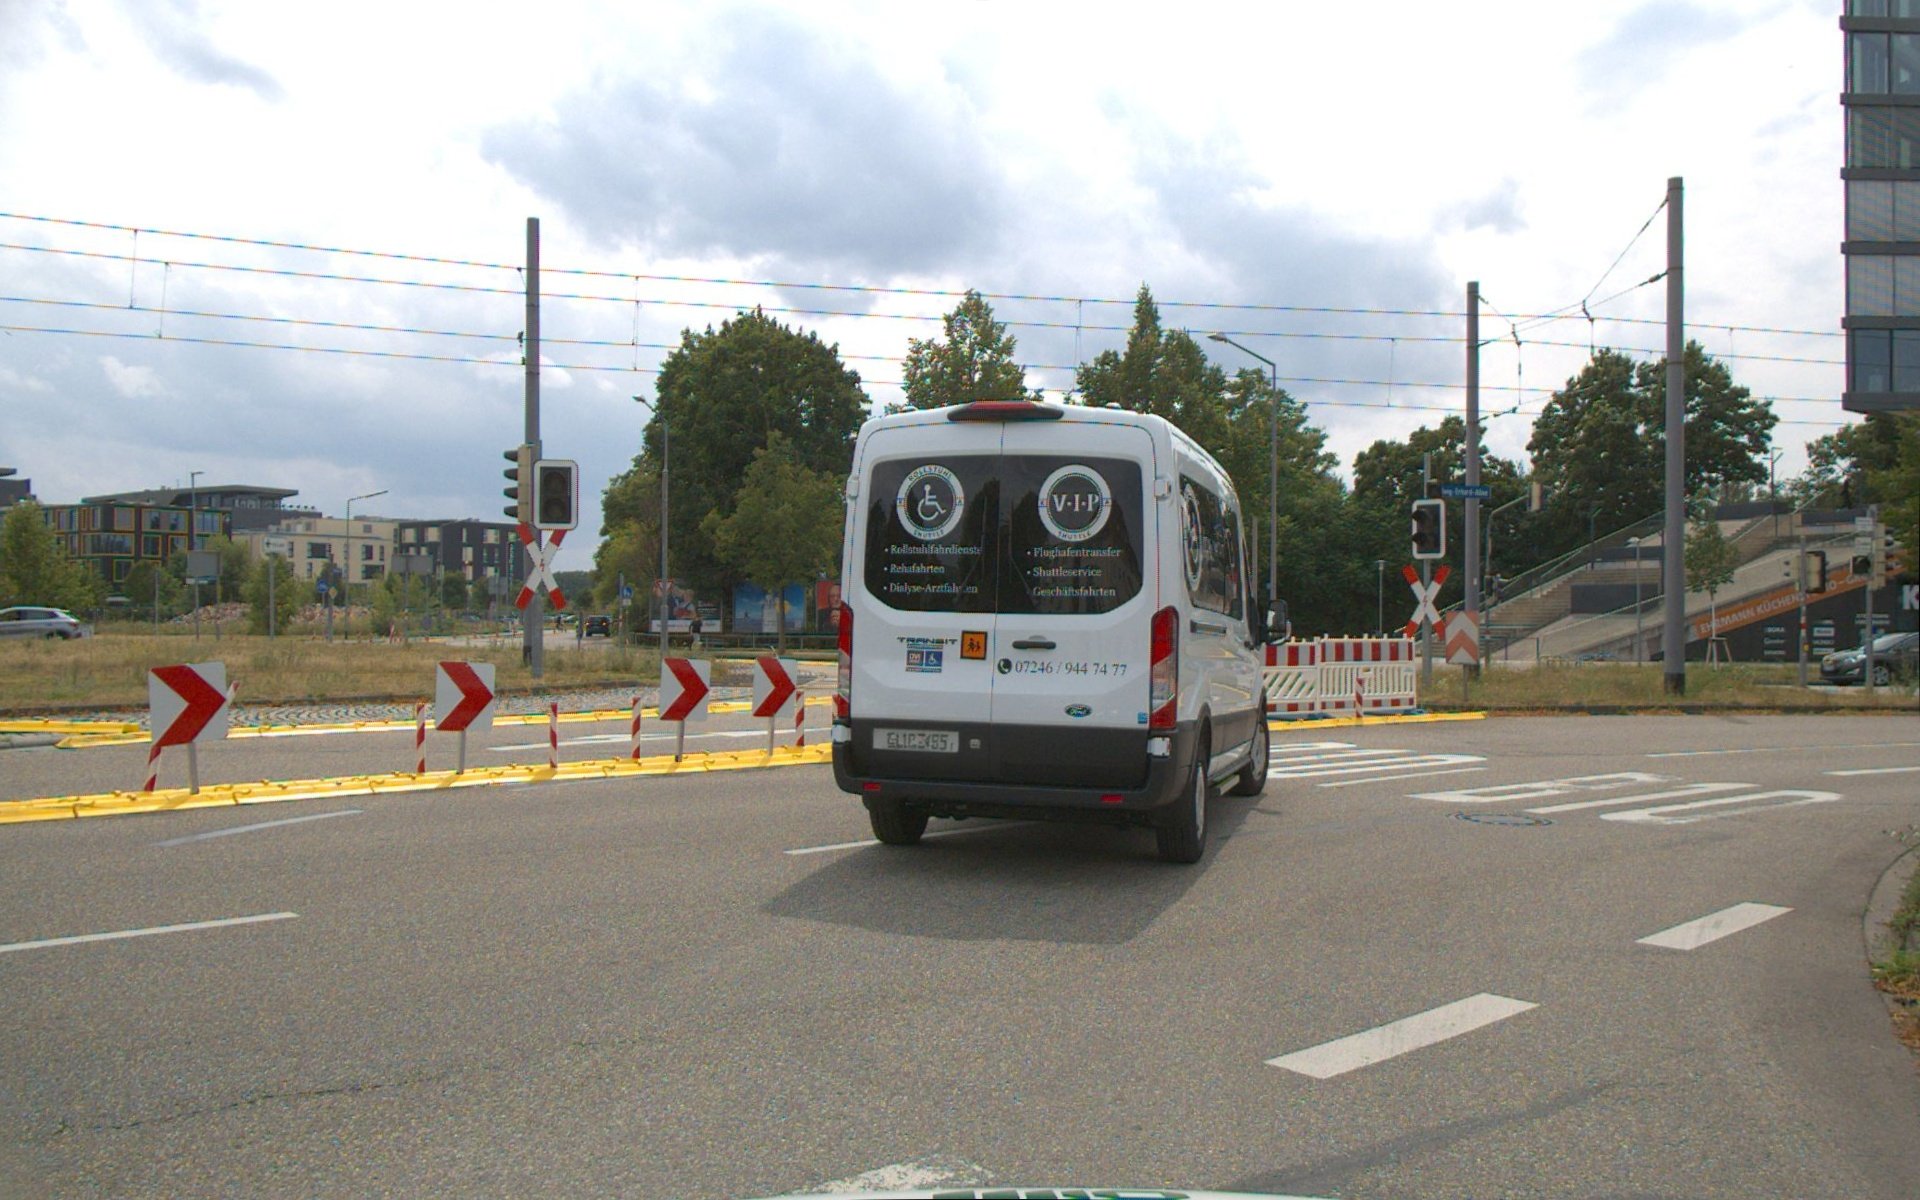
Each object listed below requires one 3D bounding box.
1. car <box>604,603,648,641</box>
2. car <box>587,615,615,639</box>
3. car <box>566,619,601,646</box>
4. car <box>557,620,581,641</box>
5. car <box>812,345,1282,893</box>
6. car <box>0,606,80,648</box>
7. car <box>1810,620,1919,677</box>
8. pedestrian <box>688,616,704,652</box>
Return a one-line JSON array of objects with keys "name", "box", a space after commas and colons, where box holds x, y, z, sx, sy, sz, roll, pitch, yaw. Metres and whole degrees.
[{"name": "car", "box": [-18.912, 1.276, 93.601, 1.962, 2.049, 3.979, 1, -2, -18]}, {"name": "car", "box": [-29.690, 2.232, 136.744, 1.956, 1.881, 3.992, 1, -2, -8]}, {"name": "car", "box": [-27.471, 2.391, 120.767, 1.955, 1.881, 3.995, 1, -2, -5]}, {"name": "car", "box": [-37.463, 2.914, 158.454, 1.957, 1.881, 3.990, 1, -2, -9]}, {"name": "car", "box": [0.944, 0.124, 11.276, 2.081, 2.745, 5.635, 0, -1, 15]}, {"name": "car", "box": [-34.050, 0.993, 59.573, 3.957, 1.489, 1.809, 1, -2, -37]}, {"name": "car", "box": [25.792, 1.305, 44.805, 4.628, 1.483, 1.847, 0, 0, -3]}, {"name": "pedestrian", "box": [-12.119, 1.546, 75.956, 0.438, 1.622, 0.671, 0, -1, 25]}]
